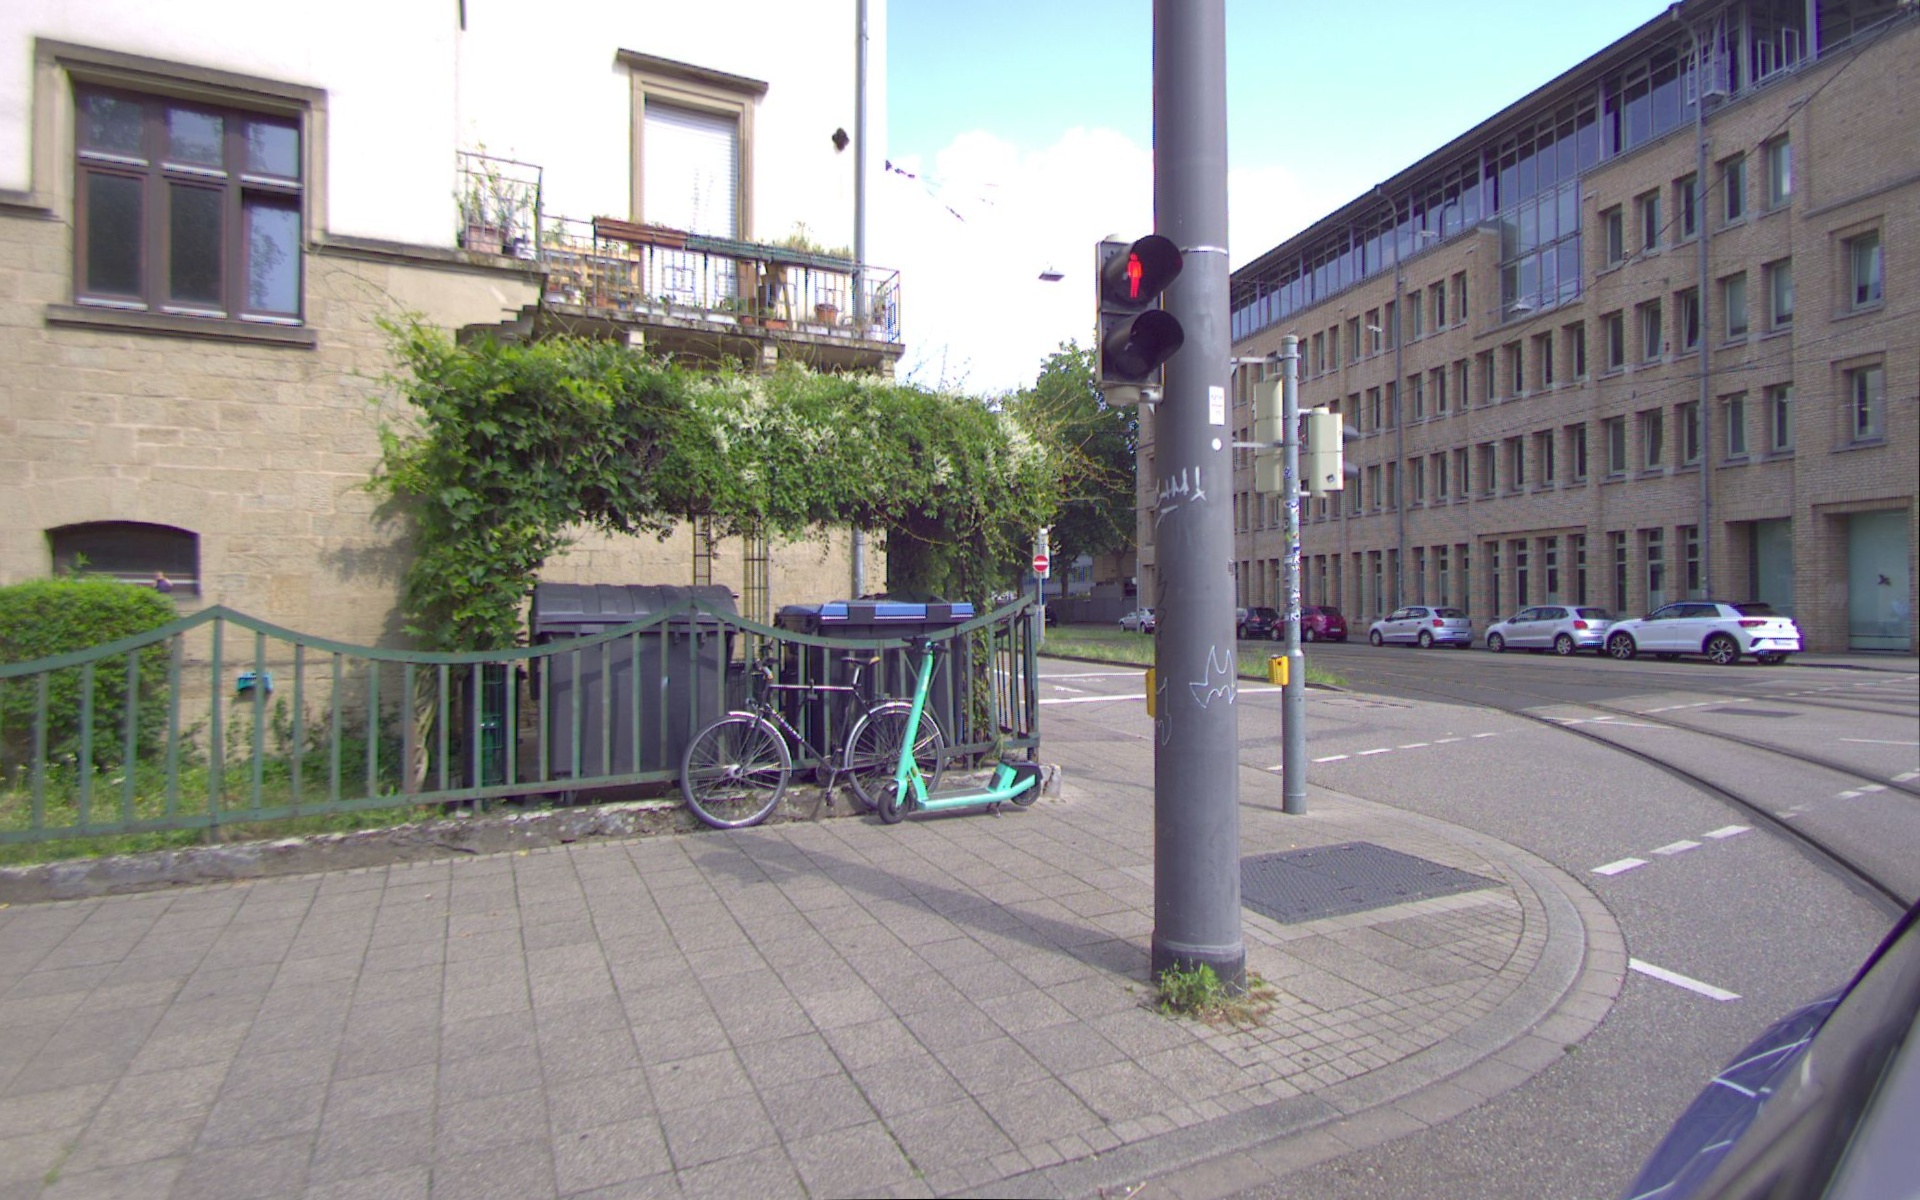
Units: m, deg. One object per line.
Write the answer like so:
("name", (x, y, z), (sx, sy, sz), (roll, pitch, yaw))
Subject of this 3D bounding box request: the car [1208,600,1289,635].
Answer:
("car", (12.754, 0.744, 44.988), (1.641, 1.440, 4.008), (-1, 0, -15))

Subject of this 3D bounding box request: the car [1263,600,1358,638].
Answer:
("car", (14.069, 0.736, 40.857), (1.641, 1.440, 4.008), (1, 0, -15))

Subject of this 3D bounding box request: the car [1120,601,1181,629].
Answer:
("car", (10.177, 0.780, 54.365), (1.641, 1.440, 4.008), (1, 0, -15))

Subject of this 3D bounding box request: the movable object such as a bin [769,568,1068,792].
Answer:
("movable object such as a bin", (-0.351, 0.531, 7.831), (1.959, 1.511, 1.308), (0, 0, -25))

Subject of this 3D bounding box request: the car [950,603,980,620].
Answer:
("car", (0.388, 1.028, 90.269), (1.643, 1.425, 4.008), (0, 0, -15))

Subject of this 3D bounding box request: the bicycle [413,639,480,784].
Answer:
("bicycle", (-4.125, 0.849, 8.156), (0.444, 1.015, 1.318), (0, 0, -26))

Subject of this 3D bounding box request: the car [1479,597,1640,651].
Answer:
("car", (17.230, 0.665, 29.335), (1.641, 1.440, 4.008), (1, 0, -15))

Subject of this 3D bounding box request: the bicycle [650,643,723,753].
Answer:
("bicycle", (-2.573, 0.881, 9.470), (0.444, 0.912, 1.172), (0, 0, -26))

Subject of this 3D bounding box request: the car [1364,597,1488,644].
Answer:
("car", (15.730, 0.661, 34.393), (1.641, 1.440, 4.008), (-1, 0, -15))

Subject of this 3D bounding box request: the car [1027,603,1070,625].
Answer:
("car", (6.088, 0.962, 69.893), (1.643, 1.425, 4.008), (0, 0, -15))

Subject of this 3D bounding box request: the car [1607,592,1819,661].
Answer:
("car", (18.347, 0.603, 24.903), (1.641, 1.567, 4.008), (0, 0, -15))

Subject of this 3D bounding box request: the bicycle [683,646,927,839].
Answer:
("bicycle", (-0.941, 0.835, 6.255), (1.450, 1.035, 0.351), (0, 2, -26))

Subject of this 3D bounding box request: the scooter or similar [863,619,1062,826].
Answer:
("scooter or similar", (0.015, 0.738, 6.512), (1.163, 1.193, 0.523), (0, 2, -24))

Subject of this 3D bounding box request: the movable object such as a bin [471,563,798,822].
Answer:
("movable object such as a bin", (-2.242, 0.534, 6.934), (1.959, 1.511, 1.308), (0, 0, -25))
